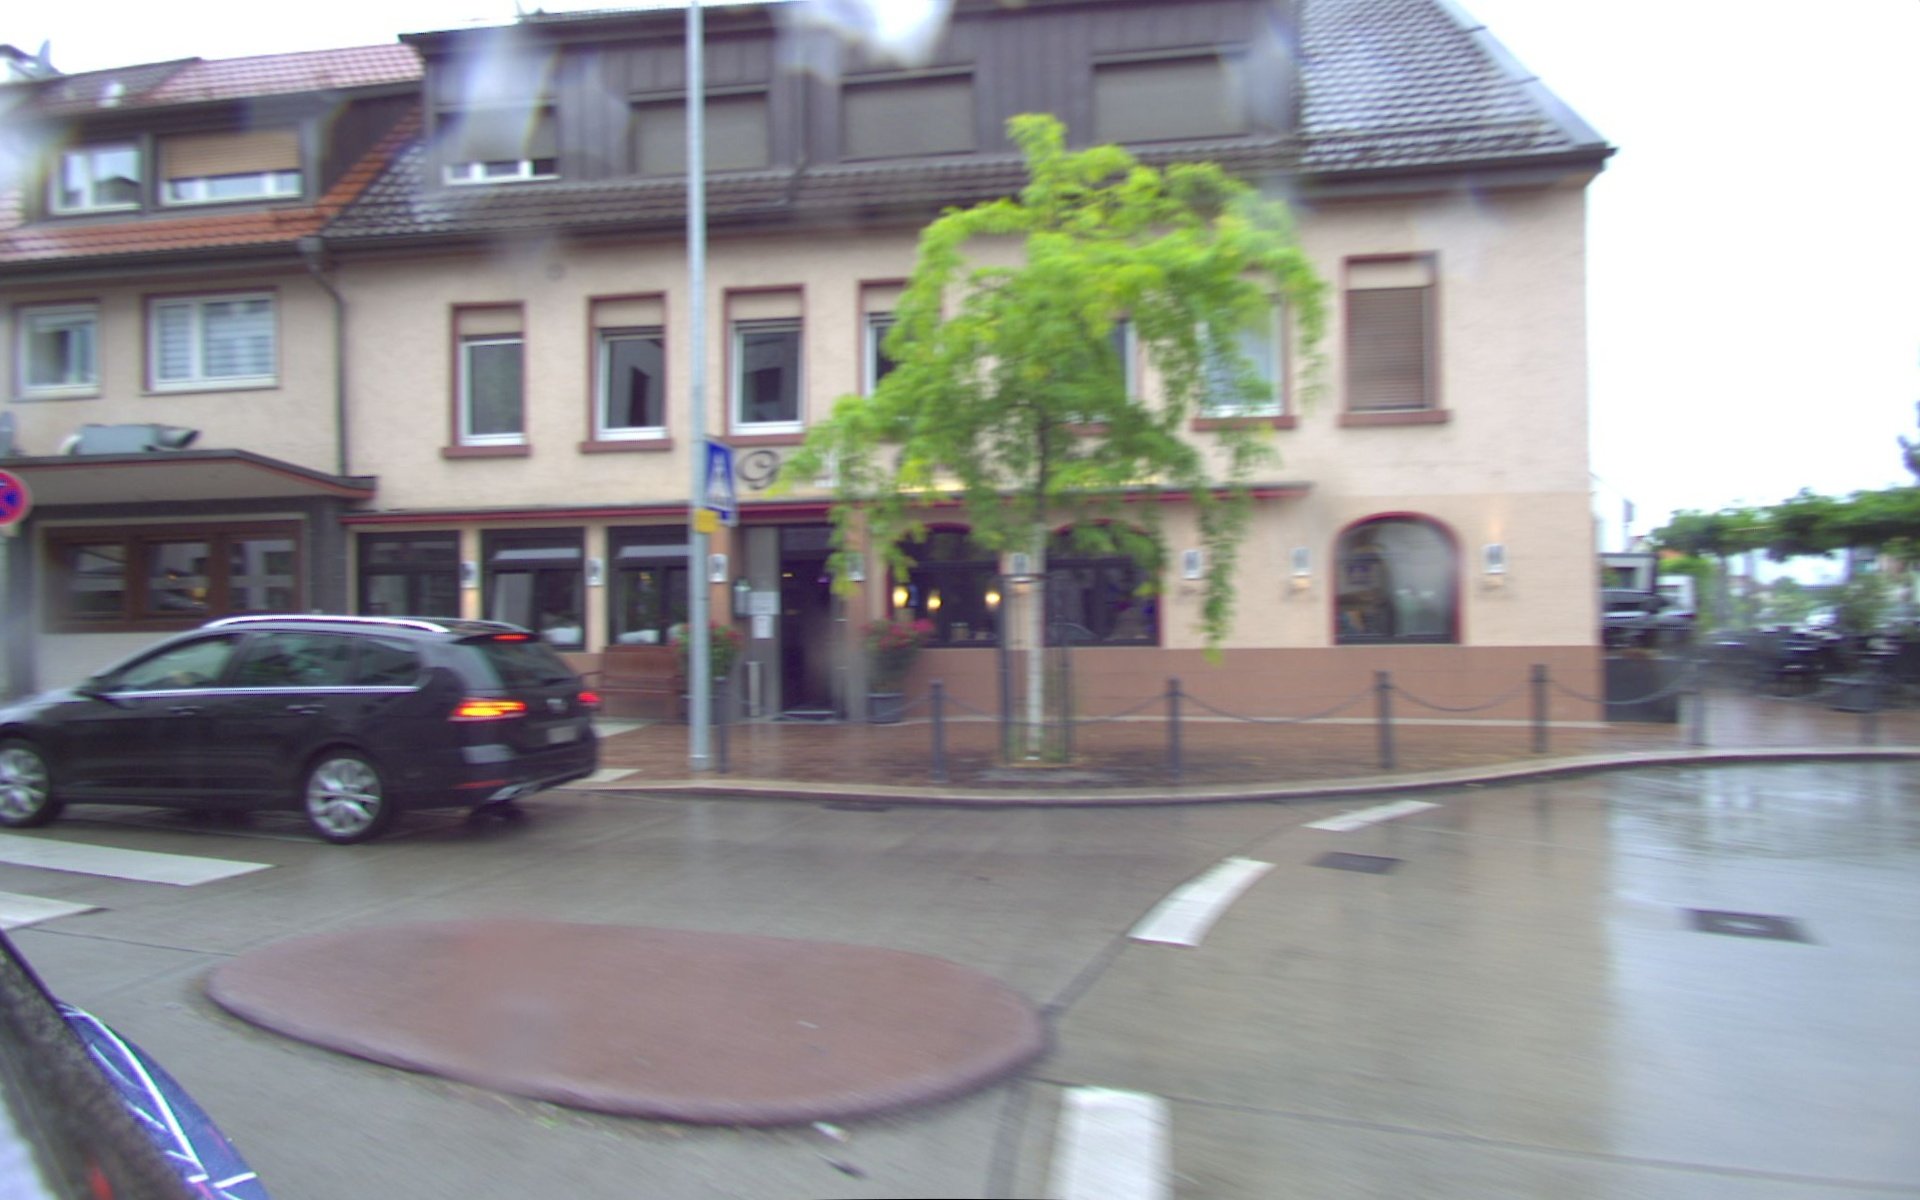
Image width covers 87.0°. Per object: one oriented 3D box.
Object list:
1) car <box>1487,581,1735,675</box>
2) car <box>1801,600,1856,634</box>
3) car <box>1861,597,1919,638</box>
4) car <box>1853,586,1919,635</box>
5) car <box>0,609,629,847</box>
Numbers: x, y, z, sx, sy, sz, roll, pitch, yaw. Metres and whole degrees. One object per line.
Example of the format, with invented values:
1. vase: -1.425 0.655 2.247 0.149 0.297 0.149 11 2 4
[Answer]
1. car: 15.139 0.615 23.820 4.444 2.029 1.992 1 0 13
2. car: 54.417 1.075 63.470 1.994 2.029 3.956 1 0 32
3. car: 35.588 0.641 37.663 1.862 1.453 3.970 1 0 23
4. car: 40.221 0.455 43.574 1.994 2.029 3.956 1 0 32
5. car: -4.857 0.819 7.332 4.418 1.441 1.666 -1 -2 9
